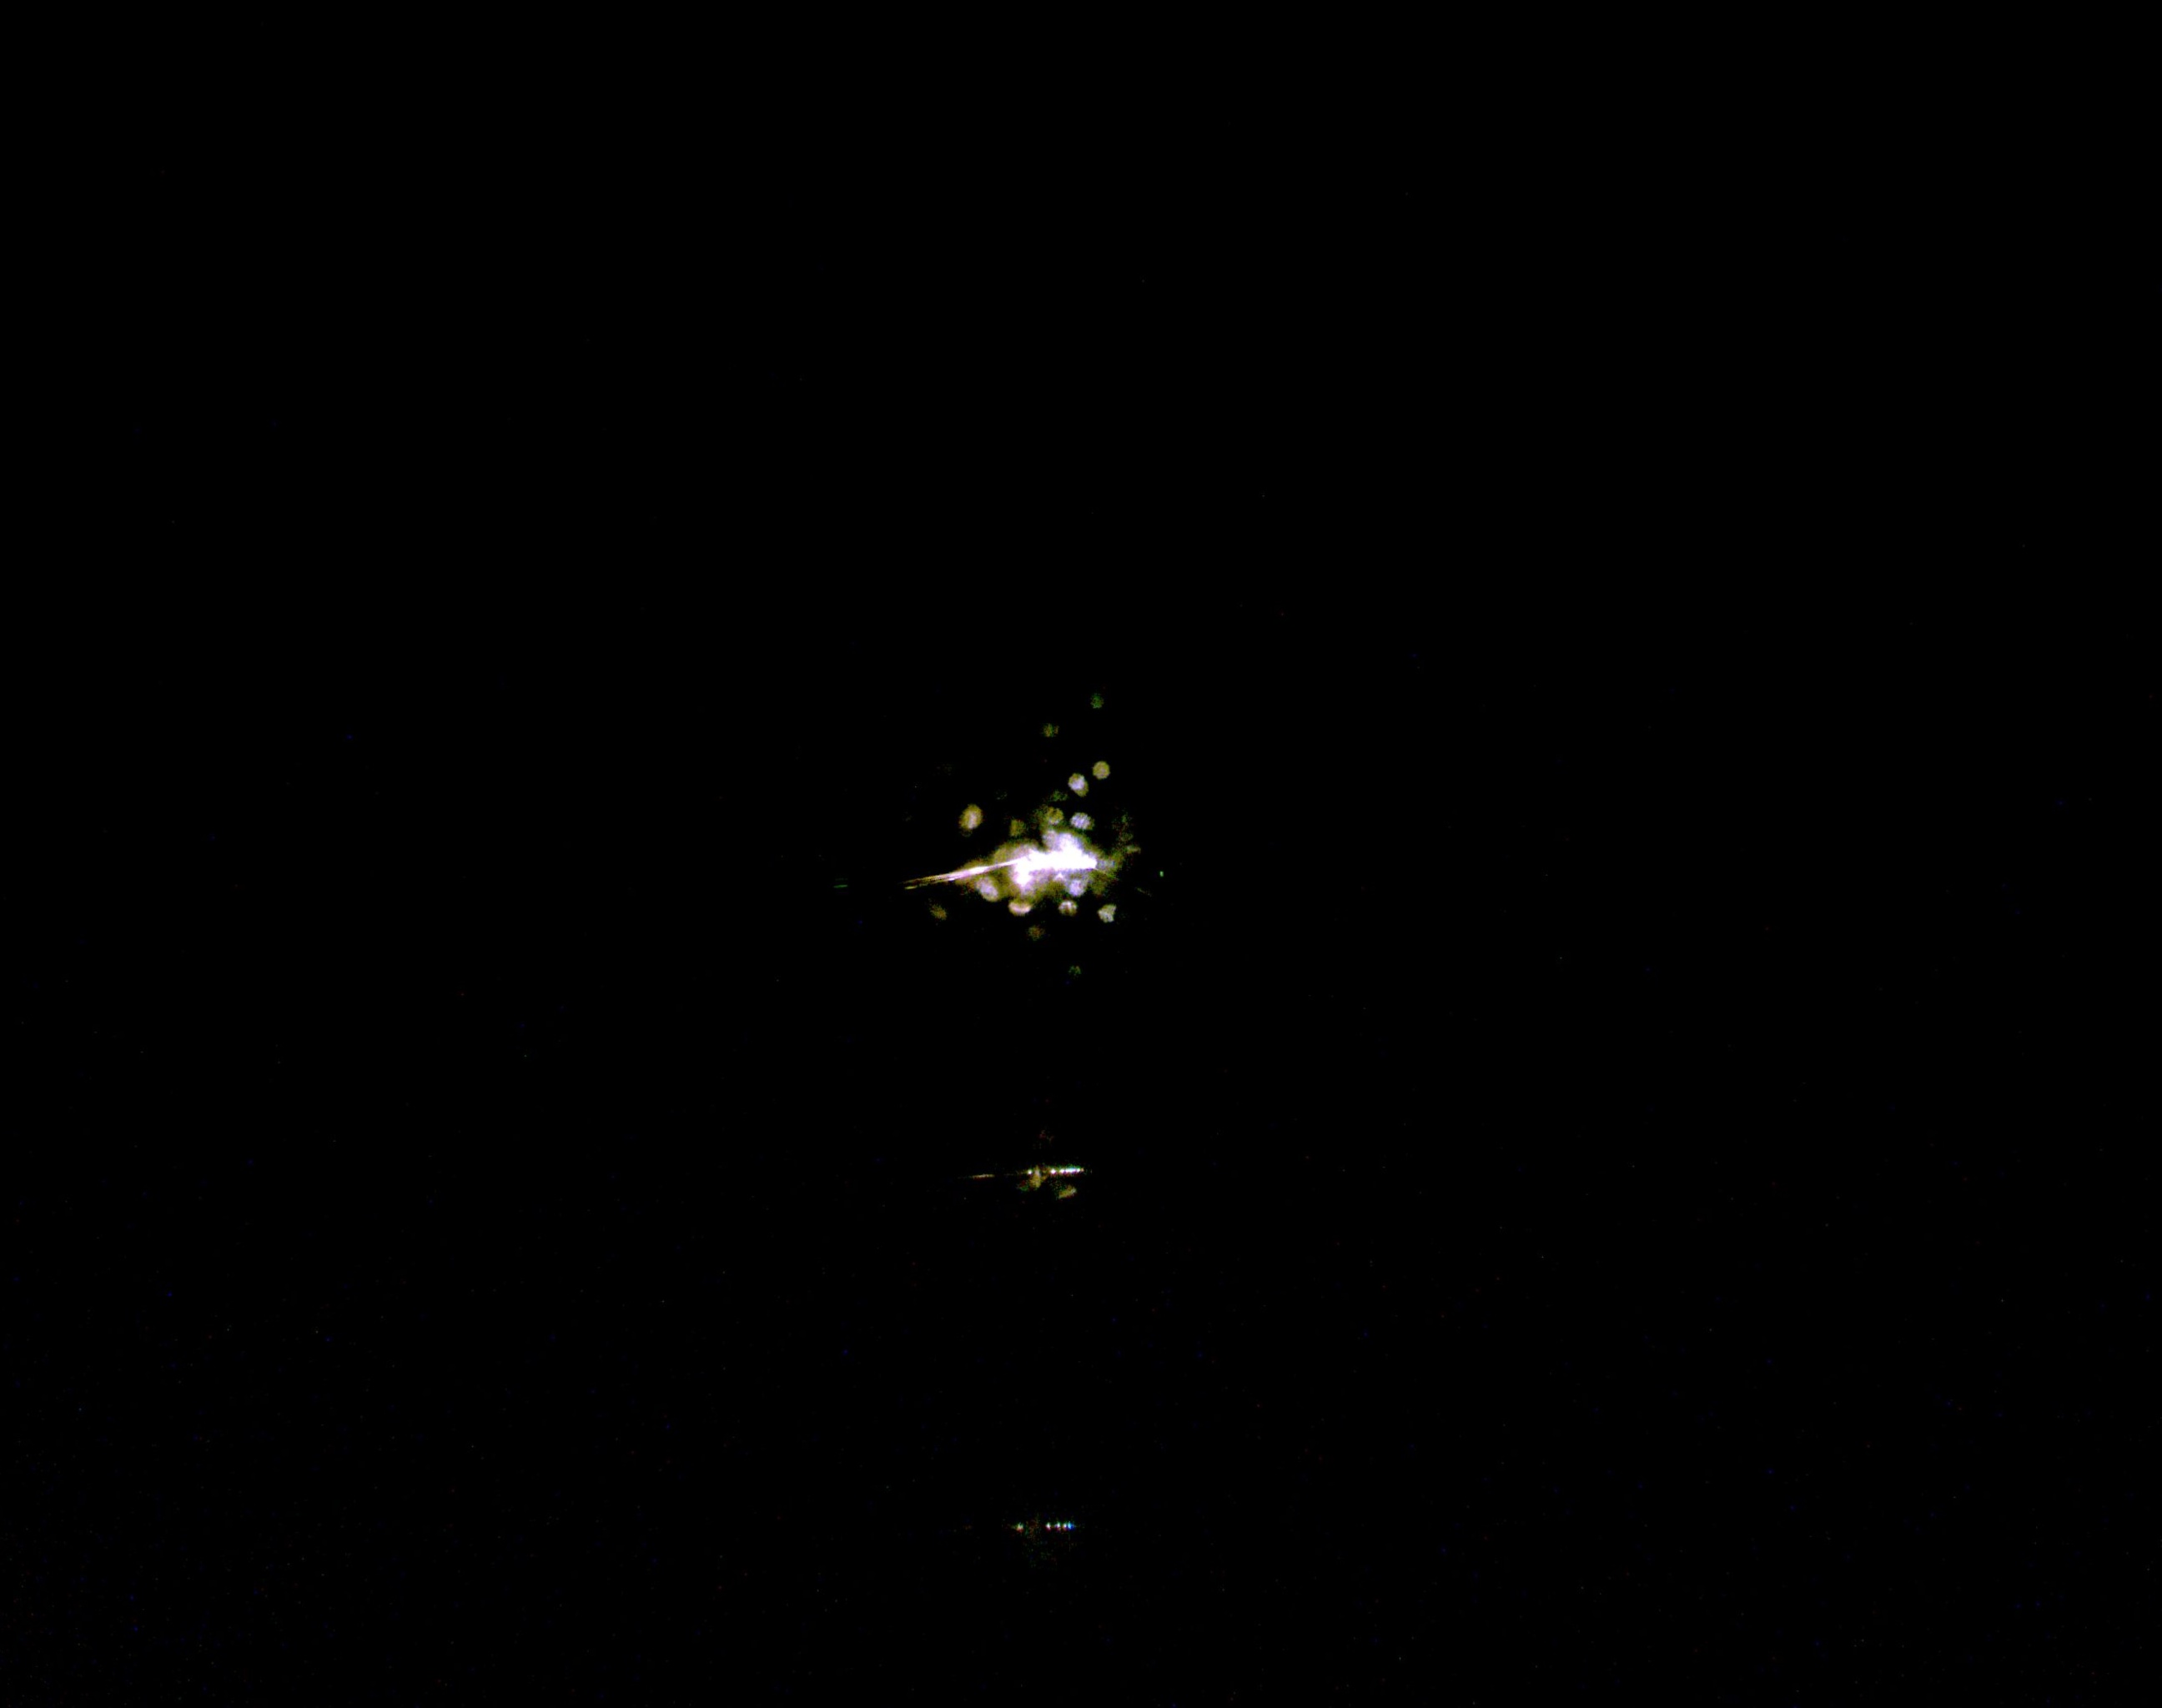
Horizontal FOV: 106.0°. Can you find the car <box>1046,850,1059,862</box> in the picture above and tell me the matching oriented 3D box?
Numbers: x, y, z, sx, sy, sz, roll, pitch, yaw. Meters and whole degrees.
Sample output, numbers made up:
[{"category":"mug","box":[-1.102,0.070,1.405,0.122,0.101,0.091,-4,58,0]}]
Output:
[{"category":"car","box":[-4.194,0.292,121.540,1.803,1.600,4.629,1,0,-1]}]

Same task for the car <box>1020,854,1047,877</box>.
[{"category":"car","box":[-3.482,0.824,60.423,1.716,1.613,4.001,0,0,0]}]
